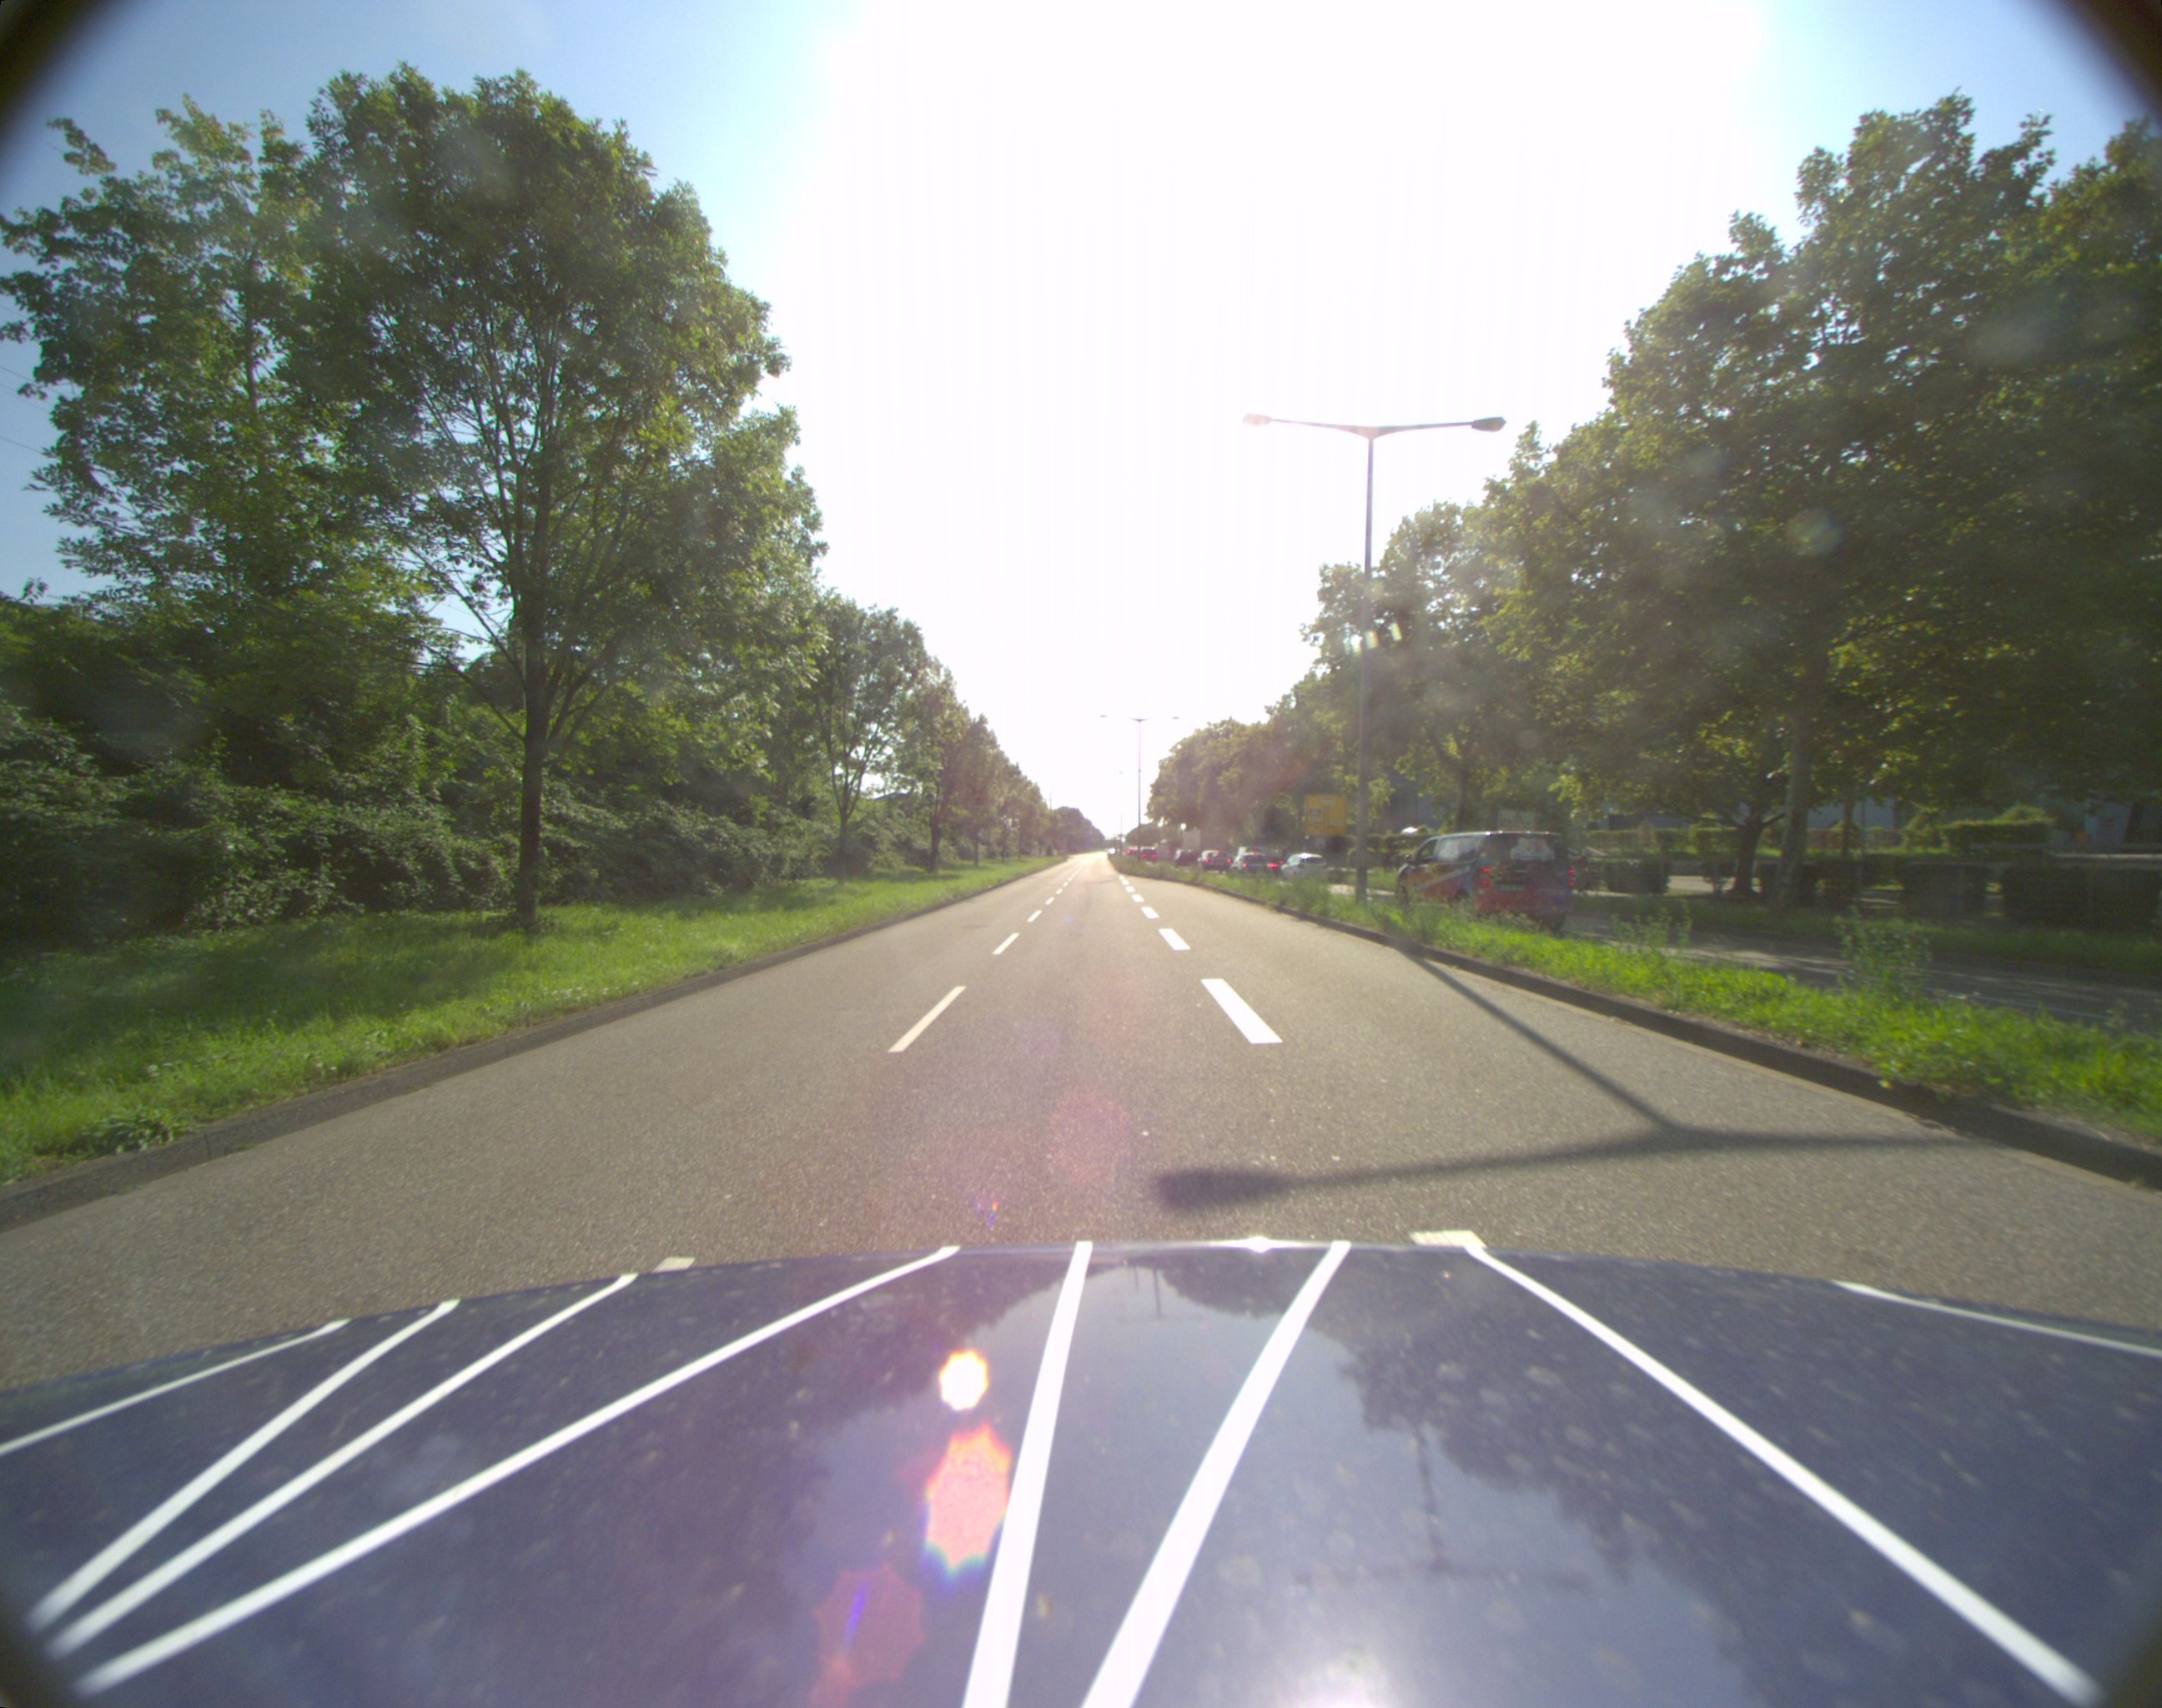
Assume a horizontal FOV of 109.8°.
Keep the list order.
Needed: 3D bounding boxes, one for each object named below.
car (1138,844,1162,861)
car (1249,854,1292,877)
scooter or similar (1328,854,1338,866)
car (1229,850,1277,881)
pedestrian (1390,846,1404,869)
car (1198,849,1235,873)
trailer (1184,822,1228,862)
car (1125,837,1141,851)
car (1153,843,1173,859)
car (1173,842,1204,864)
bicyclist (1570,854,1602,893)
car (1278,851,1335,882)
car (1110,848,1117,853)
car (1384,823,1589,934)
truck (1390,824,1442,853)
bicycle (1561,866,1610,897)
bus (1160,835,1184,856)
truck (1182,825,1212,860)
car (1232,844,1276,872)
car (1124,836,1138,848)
[{"bbox_3d":[7.228,-0.208,80.496,1.999,1.749,4.476,2,1,-1],"label":"car"},{"bbox_3d":[11.521,0.670,46.431,1.795,1.255,4.096,1,1,3],"label":"car"},{"bbox_3d":[23.325,0.542,70.243,0.510,1.121,1.381,-1,1,3],"label":"scooter or similar"},{"bbox_3d":[8.689,0.540,38.597,1.680,1.477,3.492,-1,1,1],"label":"car"},{"bbox_3d":[22.192,0.236,53.355,0.618,1.643,0.934,-1,1,1],"label":"pedestrian"},{"bbox_3d":[9.255,0.433,52.304,1.884,1.584,4.108,0,1,1],"label":"car"},{"bbox_3d":[12.911,-1.220,79.795,2.639,3.800,13.811,1,1,1],"label":"trailer"},{"bbox_3d":[6.914,-1.314,102.182,1.958,1.714,4.587,1,0,2],"label":"car"},{"bbox_3d":[10.208,-0.427,94.660,1.998,1.942,5.036,0,1,1],"label":"car"},{"bbox_3d":[9.030,-0.078,64.383,1.998,1.749,4.306,2,1,1],"label":"car"},{"bbox_3d":[19.045,0.733,28.665,0.649,1.431,0.840,0,1,1],"label":"bicyclist"},{"bbox_3d":[11.681,0.612,39.577,1.795,1.473,3.999,0,1,0],"label":"car"},{"bbox_3d":[8.355,-0.904,196.752,1.544,1.433,3.396,0,-1,5],"label":"car"},{"bbox_3d":[8.339,0.436,16.198,1.937,2.016,4.566,0,0,0],"label":"car"},{"bbox_3d":[34.756,-1.611,78.797,5.915,2.844,2.233,-1,1,-36],"label":"truck"},{"bbox_3d":[19.033,1.016,28.695,0.649,1.101,1.800,0,1,1],"label":"bicycle"},{"bbox_3d":[14.058,-1.382,117.922,2.596,3.062,12.312,-1,1,2],"label":"bus"},{"bbox_3d":[13.029,-1.261,85.681,2.614,3.798,5.891,1,1,1],"label":"truck"},{"bbox_3d":[12.126,0.224,53.590,1.989,1.848,4.969,1,1,2],"label":"car"},{"bbox_3d":[7.685,-1.882,118.051,1.916,1.853,4.890,0,0,1],"label":"car"}]
